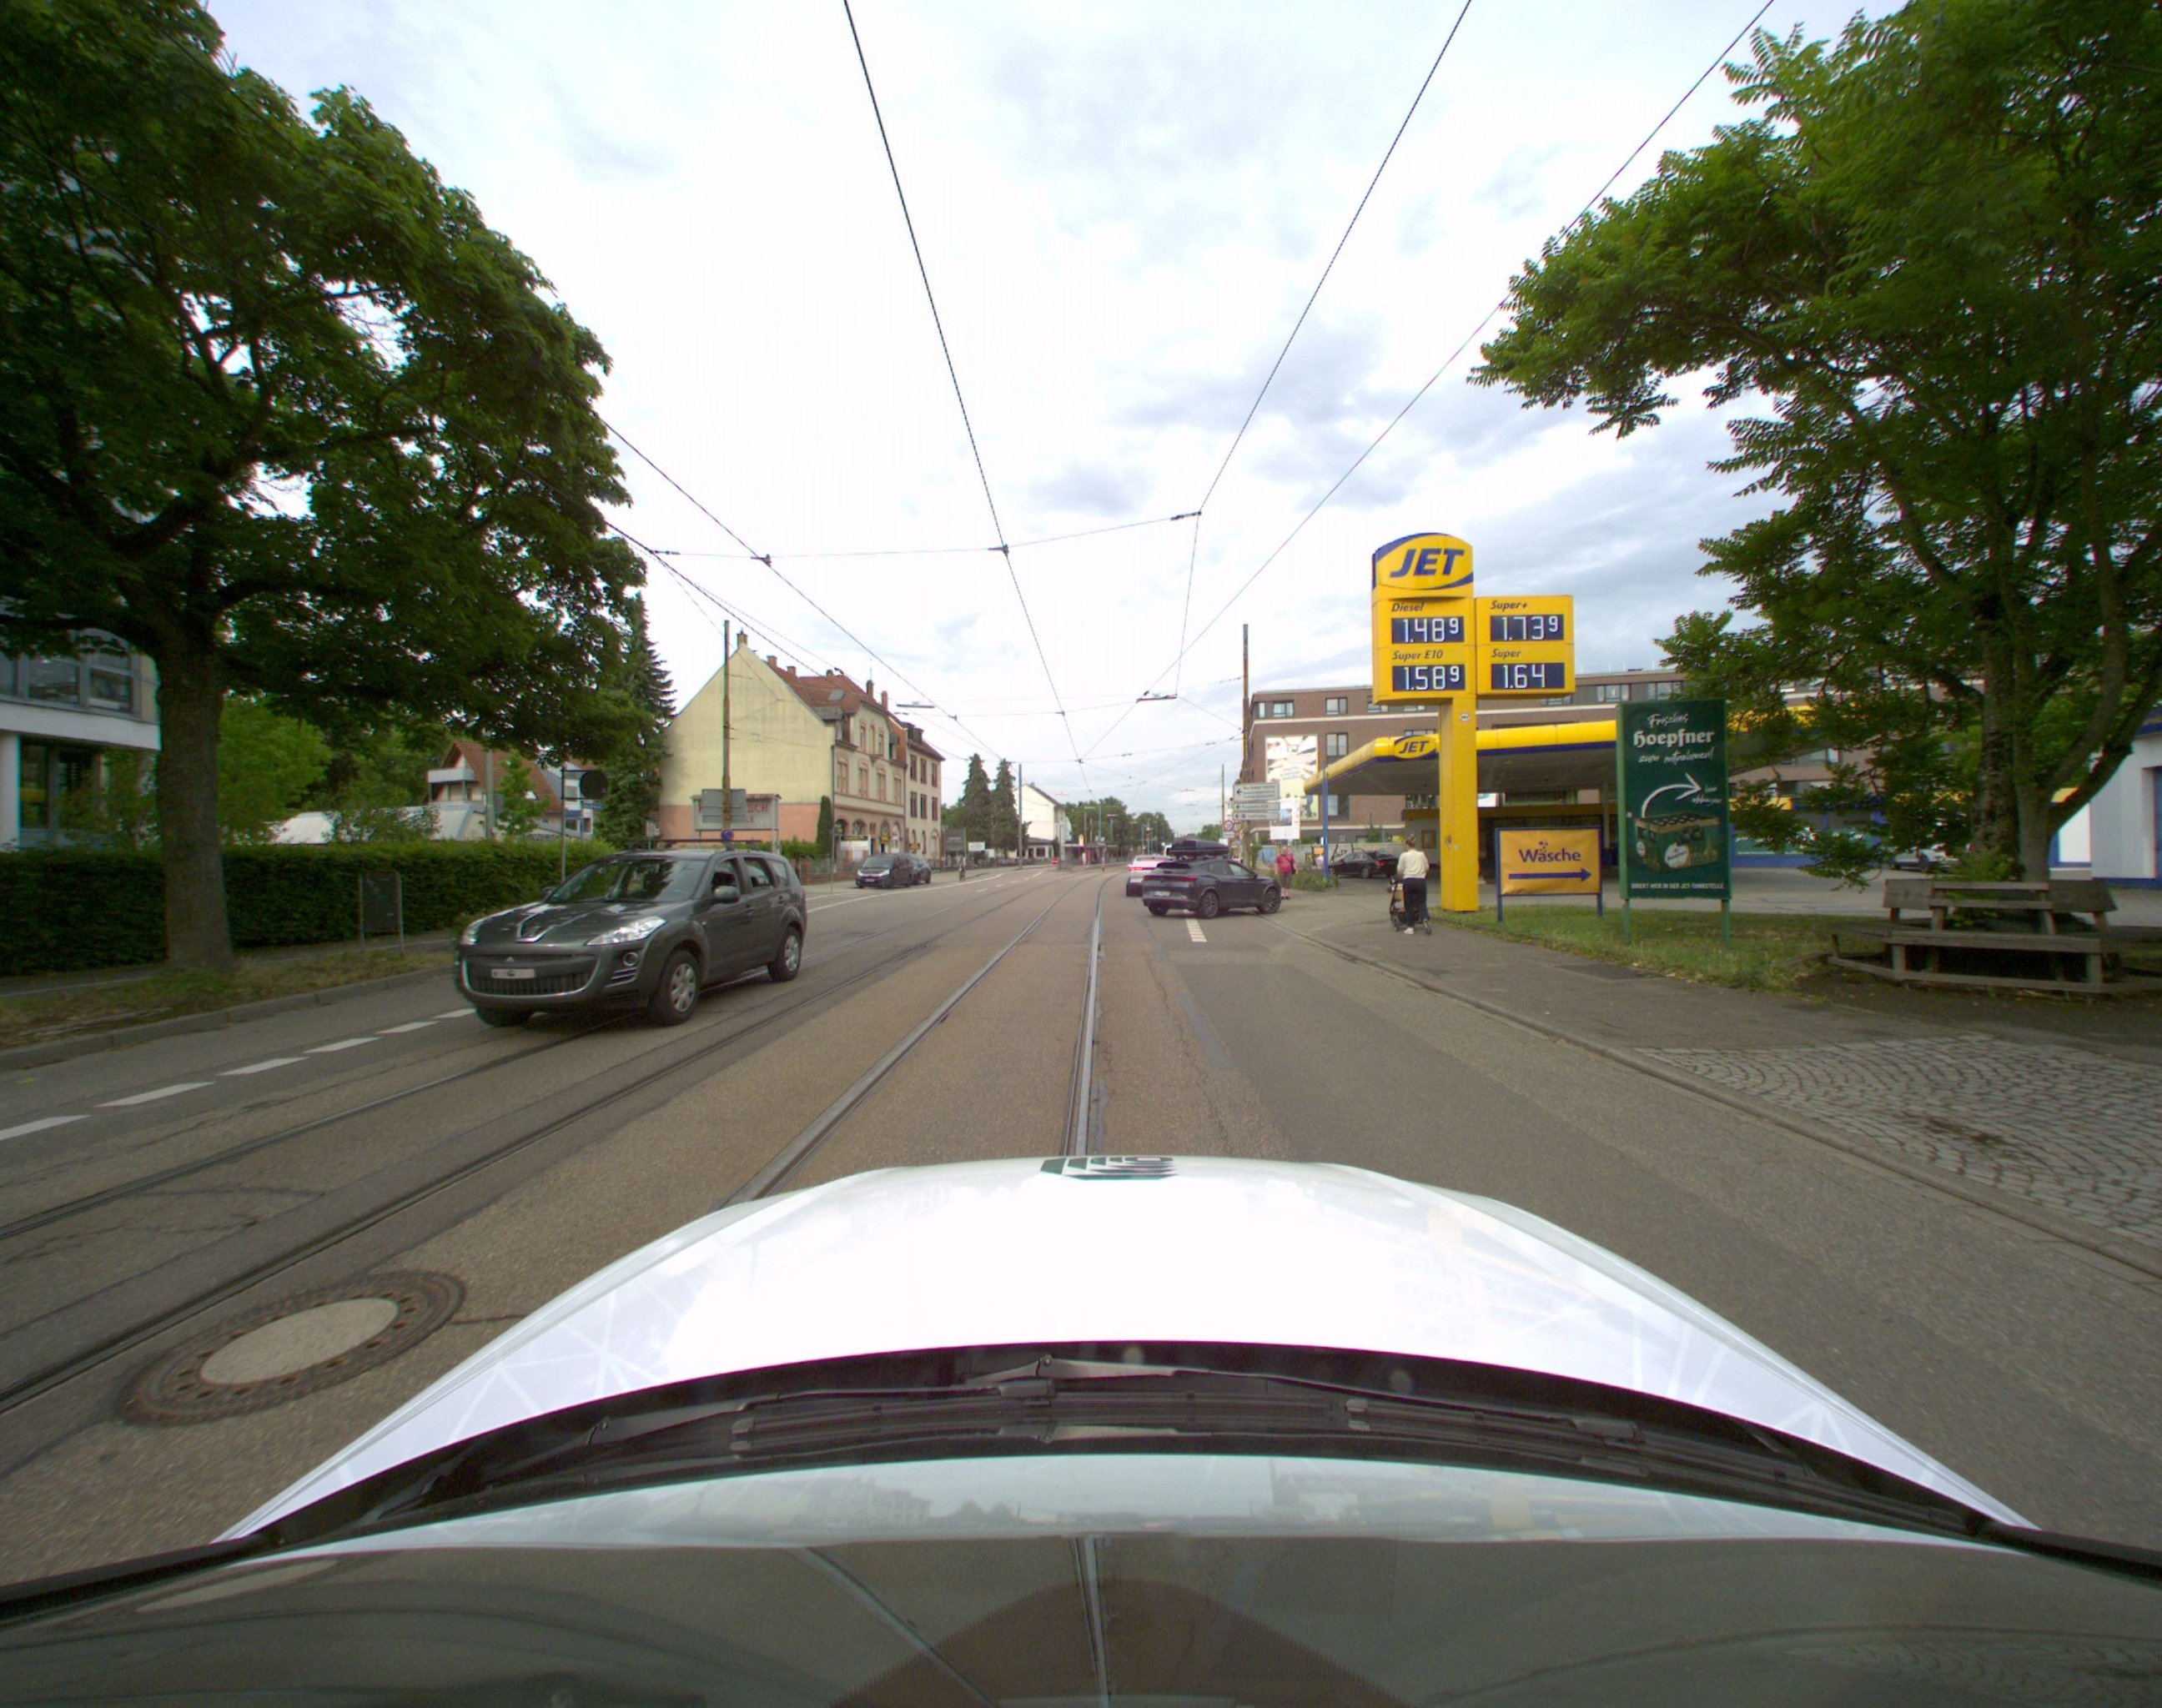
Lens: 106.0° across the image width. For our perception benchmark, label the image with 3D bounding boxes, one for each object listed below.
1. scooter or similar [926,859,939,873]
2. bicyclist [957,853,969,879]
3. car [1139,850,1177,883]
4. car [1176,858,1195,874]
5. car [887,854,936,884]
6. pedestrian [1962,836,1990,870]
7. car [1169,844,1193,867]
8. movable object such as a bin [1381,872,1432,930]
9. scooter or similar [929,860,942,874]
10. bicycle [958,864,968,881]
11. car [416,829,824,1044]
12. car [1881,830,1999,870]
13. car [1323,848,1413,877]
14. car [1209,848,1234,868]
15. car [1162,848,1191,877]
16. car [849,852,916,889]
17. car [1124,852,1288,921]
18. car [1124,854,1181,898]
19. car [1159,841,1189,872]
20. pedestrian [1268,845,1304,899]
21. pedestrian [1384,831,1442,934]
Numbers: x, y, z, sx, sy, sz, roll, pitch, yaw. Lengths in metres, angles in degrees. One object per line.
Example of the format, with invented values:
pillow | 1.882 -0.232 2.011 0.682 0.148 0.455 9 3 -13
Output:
scooter or similar | -12.916 1.077 70.706 1.055 1.188 0.315 1 -1 -30
bicyclist | -7.973 0.798 54.870 0.735 1.749 0.976 -2 0 -9
car | 4.262 0.701 45.497 1.960 1.756 3.841 1 -1 3
car | 13.663 1.608 106.587 1.986 2.014 4.001 1 -1 2
car | -10.337 0.899 49.937 1.836 1.718 4.197 1 -1 4
pedestrian | 36.383 -0.048 33.095 0.573 1.347 0.615 0 -1 26
car | 9.326 0.163 76.203 2.129 2.146 4.750 1 -1 5
movable object such as a bin | 6.311 0.897 15.836 0.762 1.039 1.028 -3 -1 16
scooter or similar | -12.565 1.084 70.226 1.055 1.188 0.315 1 -1 -30
bicycle | -7.954 1.234 54.831 0.586 1.074 1.951 -2 0 -8
car | -4.485 0.699 8.871 1.820 1.737 4.337 -1 -1 2
car | 37.272 -0.149 35.500 1.818 1.638 4.502 0 -1 22
car | 15.478 0.450 44.232 1.953 1.427 4.853 -1 0 -20
car | 12.826 0.382 74.658 1.866 1.823 4.101 1 -1 5
car | 6.851 0.622 59.031 1.984 2.014 4.006 1 -1 5
car | -10.598 0.868 43.898 1.982 1.887 5.004 1 -1 5
car | 3.327 0.762 21.225 4.350 1.497 1.972 -1 2 -43
car | 2.688 0.799 31.453 1.974 1.550 4.185 1 0 2
car | 7.634 0.246 67.069 2.206 2.423 4.956 1 -1 4
pedestrian | 6.864 0.586 27.353 0.967 1.738 0.862 -3 -1 4
pedestrian | 6.041 0.505 14.874 0.762 1.797 1.167 -3 -1 16
